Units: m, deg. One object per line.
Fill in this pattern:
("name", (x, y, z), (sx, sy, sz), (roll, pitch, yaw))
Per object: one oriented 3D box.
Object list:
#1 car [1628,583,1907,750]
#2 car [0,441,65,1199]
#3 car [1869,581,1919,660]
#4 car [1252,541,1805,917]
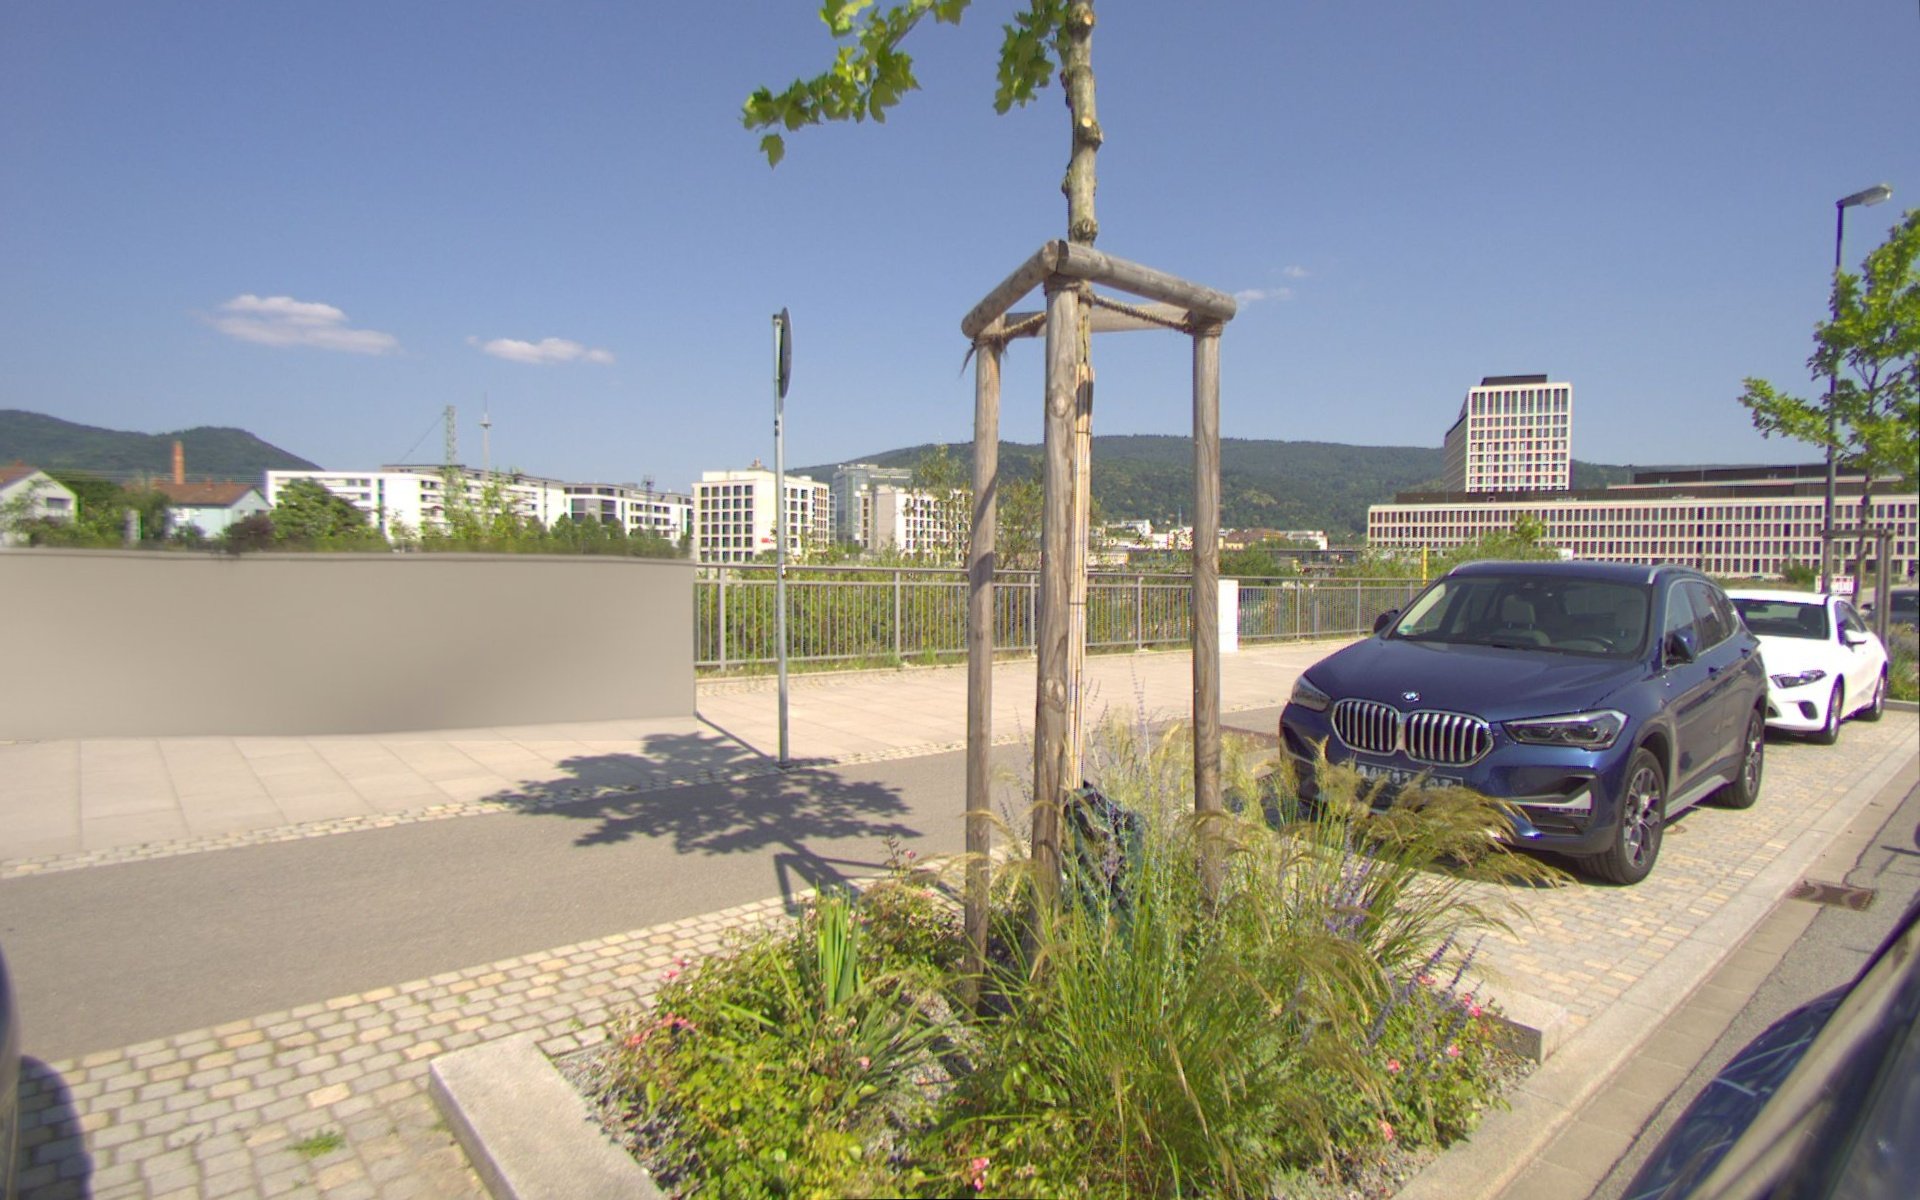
("car", (8.778, 0.567, 10.894), (3.930, 1.473, 1.663), (-1, 0, -41))
("car", (-2.977, 0.545, 0.378), (3.931, 1.444, 1.663), (-1, 3, -42))
("car", (20.362, 0.382, 21.059), (3.930, 1.558, 1.663), (-1, 0, -41))
("car", (3.799, 0.534, 6.429), (4.164, 1.627, 1.768), (-1, 0, -41))
